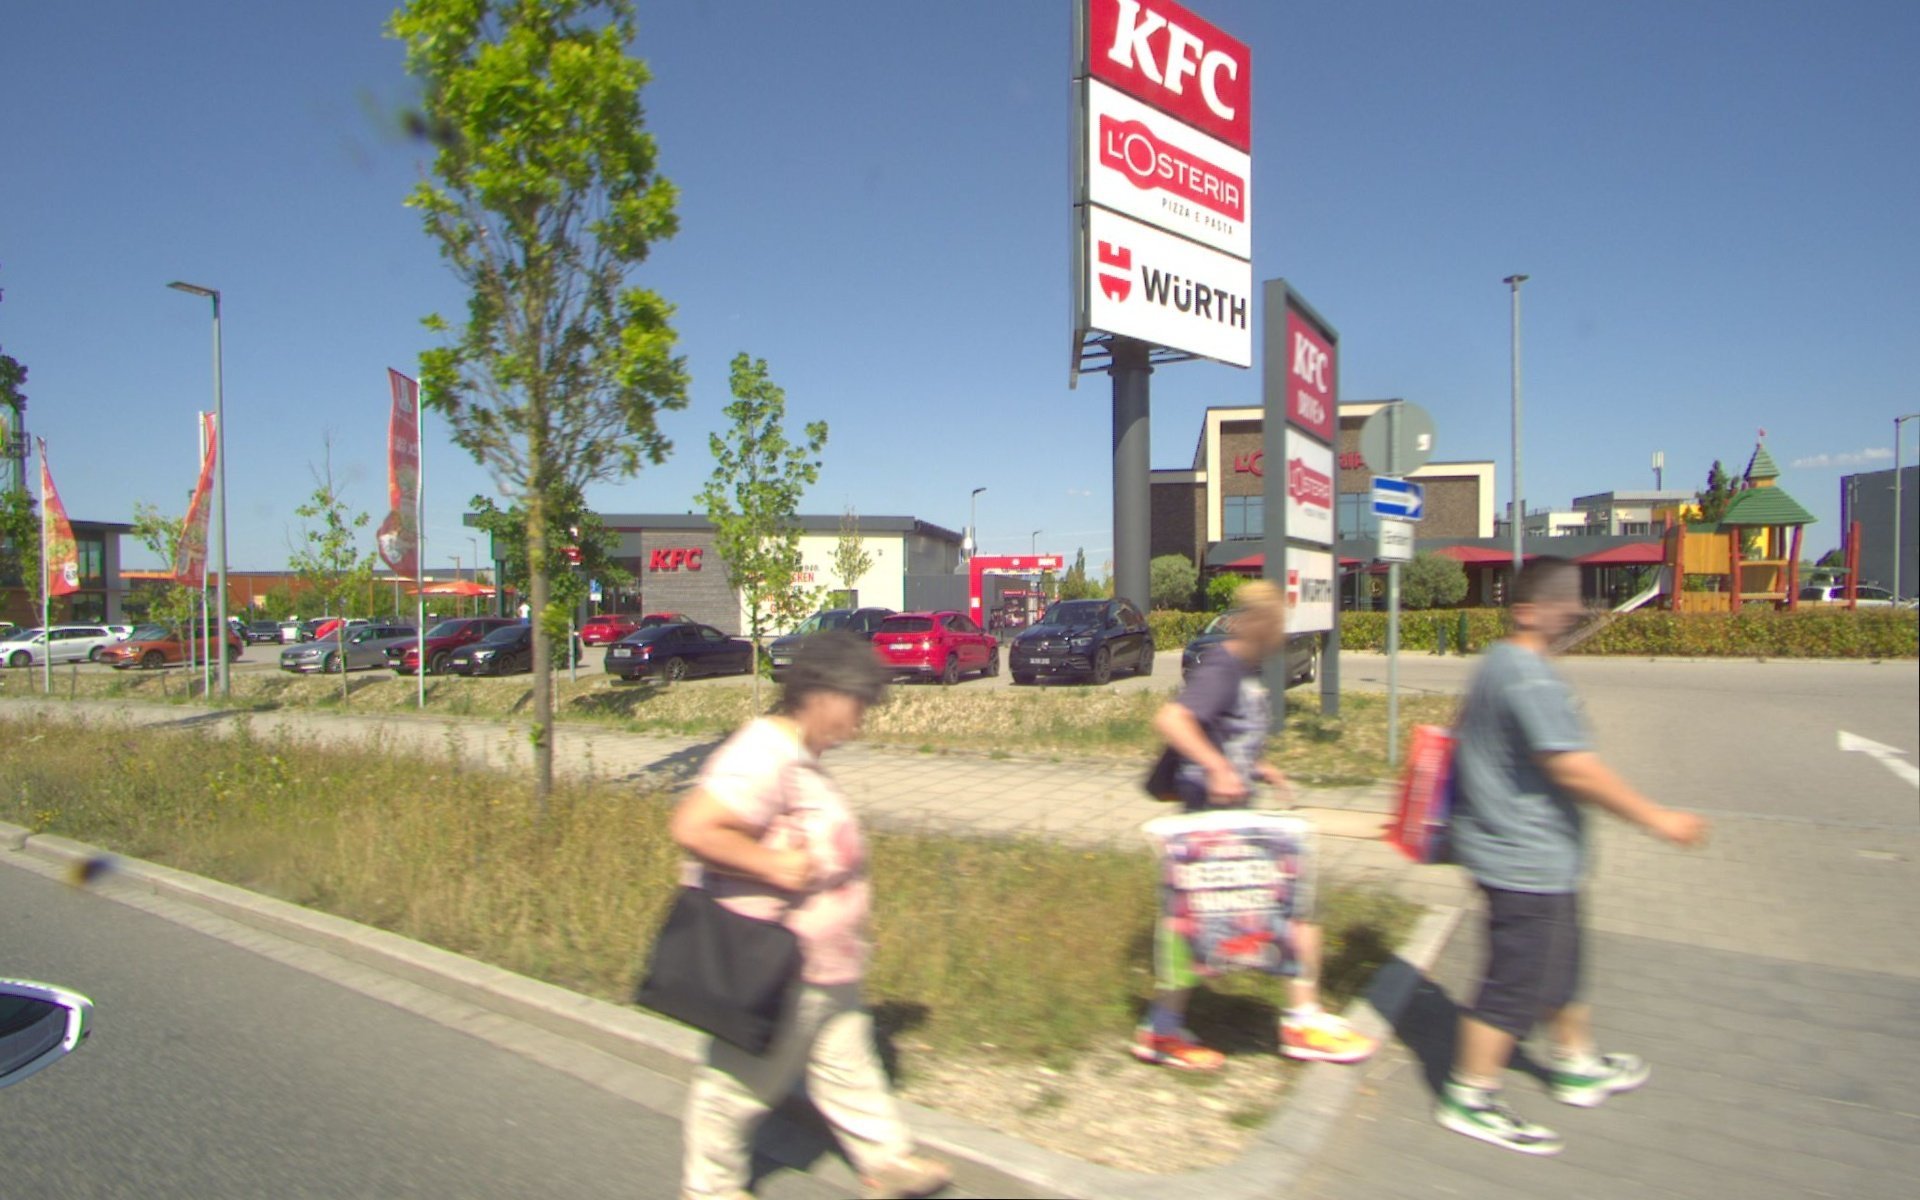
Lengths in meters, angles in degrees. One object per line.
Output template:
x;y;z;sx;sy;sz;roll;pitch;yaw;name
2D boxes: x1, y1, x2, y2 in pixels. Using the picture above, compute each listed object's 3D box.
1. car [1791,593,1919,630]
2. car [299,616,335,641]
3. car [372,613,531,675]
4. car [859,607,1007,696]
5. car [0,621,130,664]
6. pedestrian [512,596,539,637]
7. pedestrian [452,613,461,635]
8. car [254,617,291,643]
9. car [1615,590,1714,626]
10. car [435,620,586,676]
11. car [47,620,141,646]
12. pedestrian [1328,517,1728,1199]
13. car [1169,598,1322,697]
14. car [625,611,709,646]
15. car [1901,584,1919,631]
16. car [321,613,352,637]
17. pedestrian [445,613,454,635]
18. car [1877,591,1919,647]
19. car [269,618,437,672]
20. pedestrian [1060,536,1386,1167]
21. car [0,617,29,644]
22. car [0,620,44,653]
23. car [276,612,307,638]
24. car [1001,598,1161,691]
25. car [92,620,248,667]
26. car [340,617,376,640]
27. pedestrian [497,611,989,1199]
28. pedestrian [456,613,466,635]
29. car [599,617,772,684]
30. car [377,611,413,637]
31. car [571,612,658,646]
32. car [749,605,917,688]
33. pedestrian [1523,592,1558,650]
38.339;0.486;42.898;4.029;1.481;1.702;-1;0;1;car
-41.481;1.814;64.542;1.769;1.470;4.140;-1;0;-35;car
-15.719;1.296;31.187;1.838;1.687;4.152;0;1;25;car
-0.477;1.075;22.797;1.761;1.758;4.408;0;1;22;car
-35.890;1.624;39.534;1.835;1.510;4.532;0;0;18;car
-22.186;0.849;51.176;0.875;2.040;0.915;-1;0;15;pedestrian
-29.072;1.390;57.819;0.287;1.257;0.380;-1;1;10;pedestrian
-41.786;1.787;60.827;1.769;1.470;4.140;-1;0;-35;car
37.622;0.417;53.670;2.009;1.839;4.924;0;0;3;car
-13.430;1.386;30.177;1.760;1.469;4.158;0;1;20;car
-51.139;1.916;59.262;3.945;1.391;1.788;-1;0;-33;car
1.582;0.653;2.835;0.854;1.649;0.807;-1;-1;32;pedestrian
5.459;0.772;18.737;1.963;1.587;4.403;0;1;27;car
-13.590;1.297;46.735;1.833;1.450;4.566;0;0;11;car
38.771;0.260;38.232;4.029;1.780;1.702;-1;0;1;car
-48.206;1.896;77.366;1.769;1.780;4.140;-1;0;-35;car
-29.066;1.374;57.020;0.287;1.257;0.380;-1;1;10;pedestrian
27.398;0.477;26.787;4.150;1.491;1.702;-1;0;0;car
-19.915;1.425;33.098;1.837;1.510;4.557;0;1;22;car
0.854;0.672;3.179;0.793;1.651;0.799;-1;-1;32;pedestrian
-63.377;2.001;66.508;1.777;1.724;3.970;-1;0;-37;car
-44.765;1.716;47.251;1.769;1.481;4.140;-1;0;-35;car
-49.136;1.829;73.581;1.769;1.780;4.140;-1;0;-35;car
2.806;0.860;21.977;1.909;1.758;4.978;0;1;27;car
-28.983;1.555;36.900;1.835;1.510;4.210;0;0;18;car
-40.813;1.913;67.810;1.769;1.470;4.140;-1;0;-35;car
-0.530;0.781;2.535;0.935;1.489;0.791;-1;-1;33;pedestrian
-28.785;1.386;57.768;0.287;1.257;0.380;-1;1;10;pedestrian
-7.061;1.244;26.221;1.764;1.469;4.398;0;1;30;car
-39.793;1.686;70.461;1.769;1.780;4.140;-1;0;-35;car
-16.150;1.325;47.114;1.833;1.450;4.566;0;0;11;car
-2.943;1.021;24.171;1.764;1.758;4.400;0;1;29;car
17.967;0.654;30.994;0.806;1.772;0.518;-1;0;15;pedestrian
